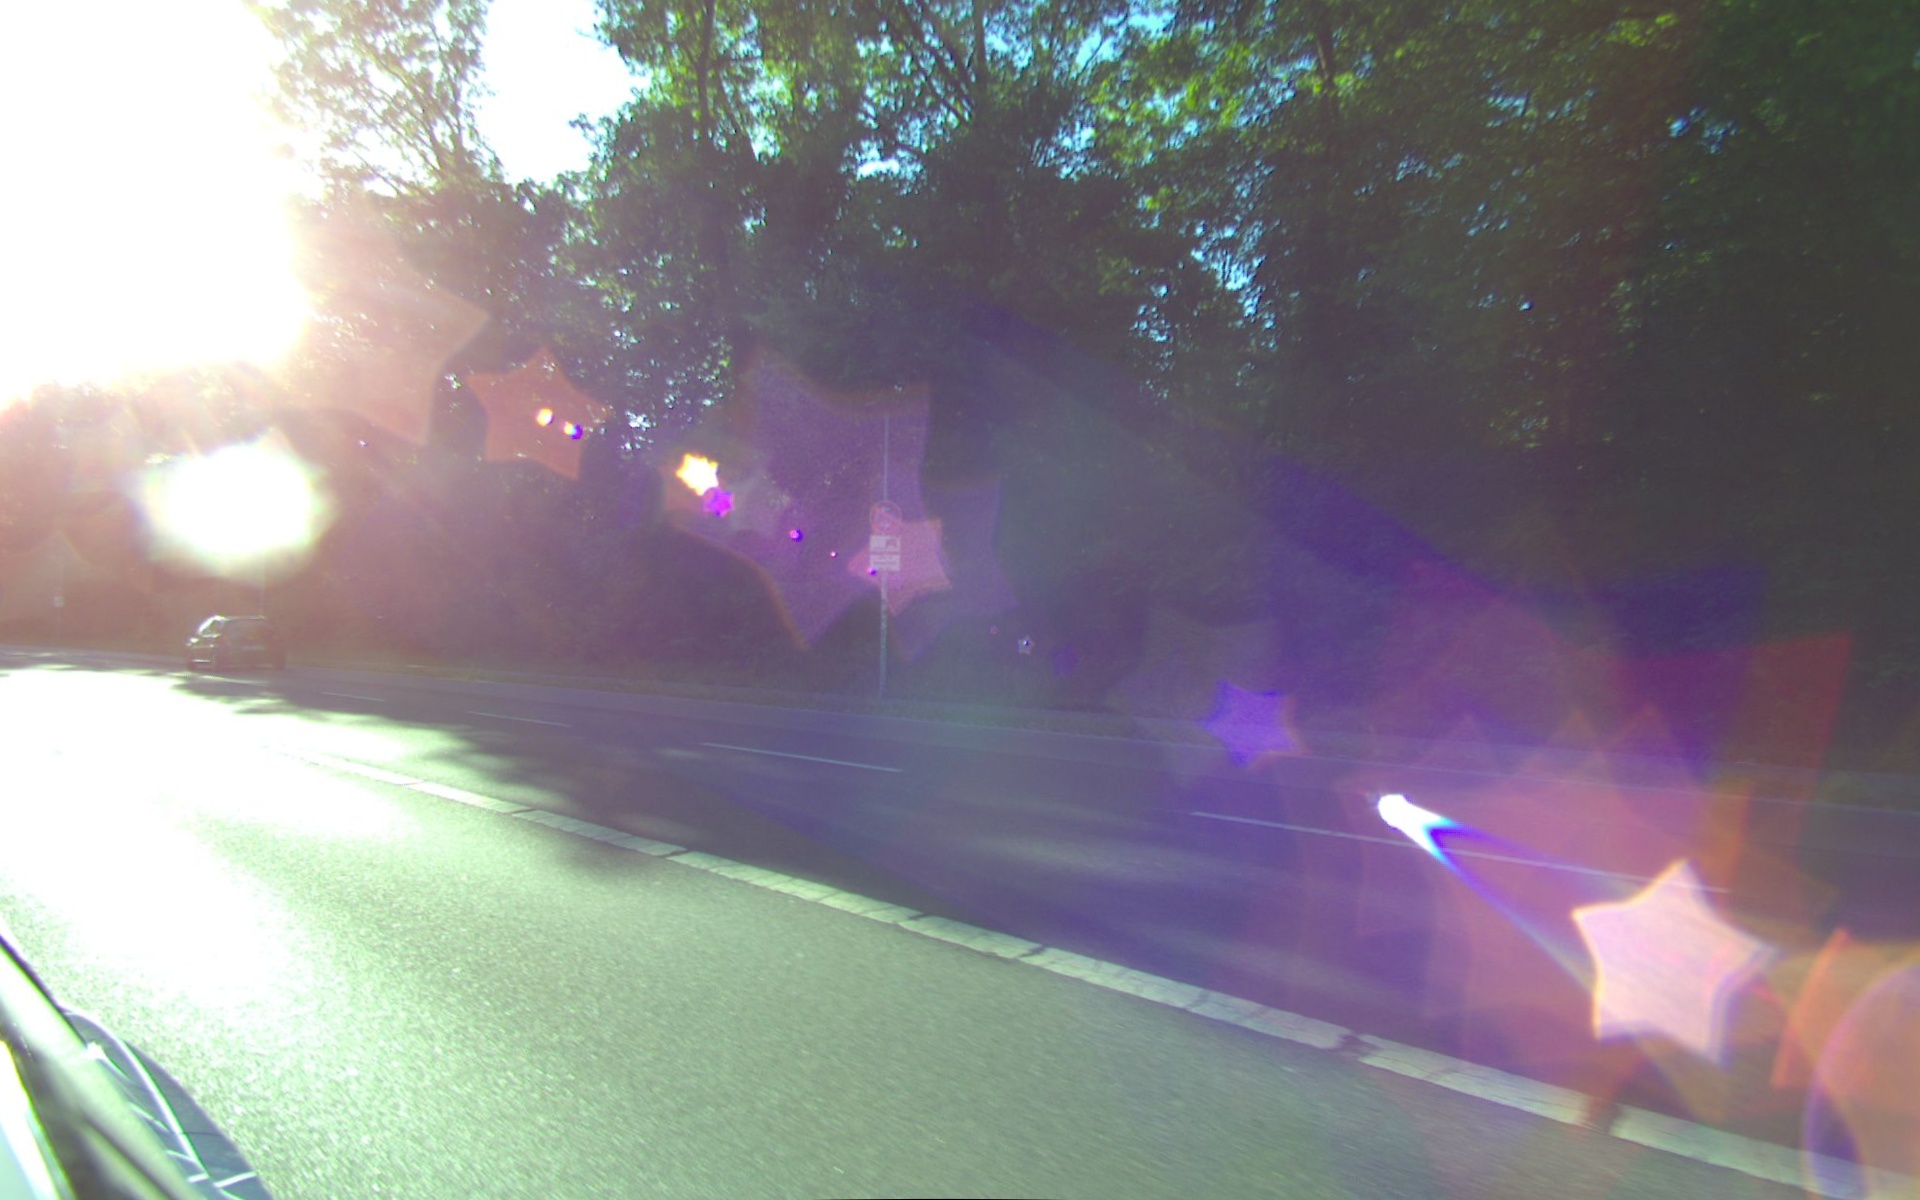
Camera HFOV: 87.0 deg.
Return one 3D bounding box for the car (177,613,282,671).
[{"bbox_3d":[-19.840,1.114,27.438,3.497,1.455,1.480,-2,-1,40],"label":"car"}]
